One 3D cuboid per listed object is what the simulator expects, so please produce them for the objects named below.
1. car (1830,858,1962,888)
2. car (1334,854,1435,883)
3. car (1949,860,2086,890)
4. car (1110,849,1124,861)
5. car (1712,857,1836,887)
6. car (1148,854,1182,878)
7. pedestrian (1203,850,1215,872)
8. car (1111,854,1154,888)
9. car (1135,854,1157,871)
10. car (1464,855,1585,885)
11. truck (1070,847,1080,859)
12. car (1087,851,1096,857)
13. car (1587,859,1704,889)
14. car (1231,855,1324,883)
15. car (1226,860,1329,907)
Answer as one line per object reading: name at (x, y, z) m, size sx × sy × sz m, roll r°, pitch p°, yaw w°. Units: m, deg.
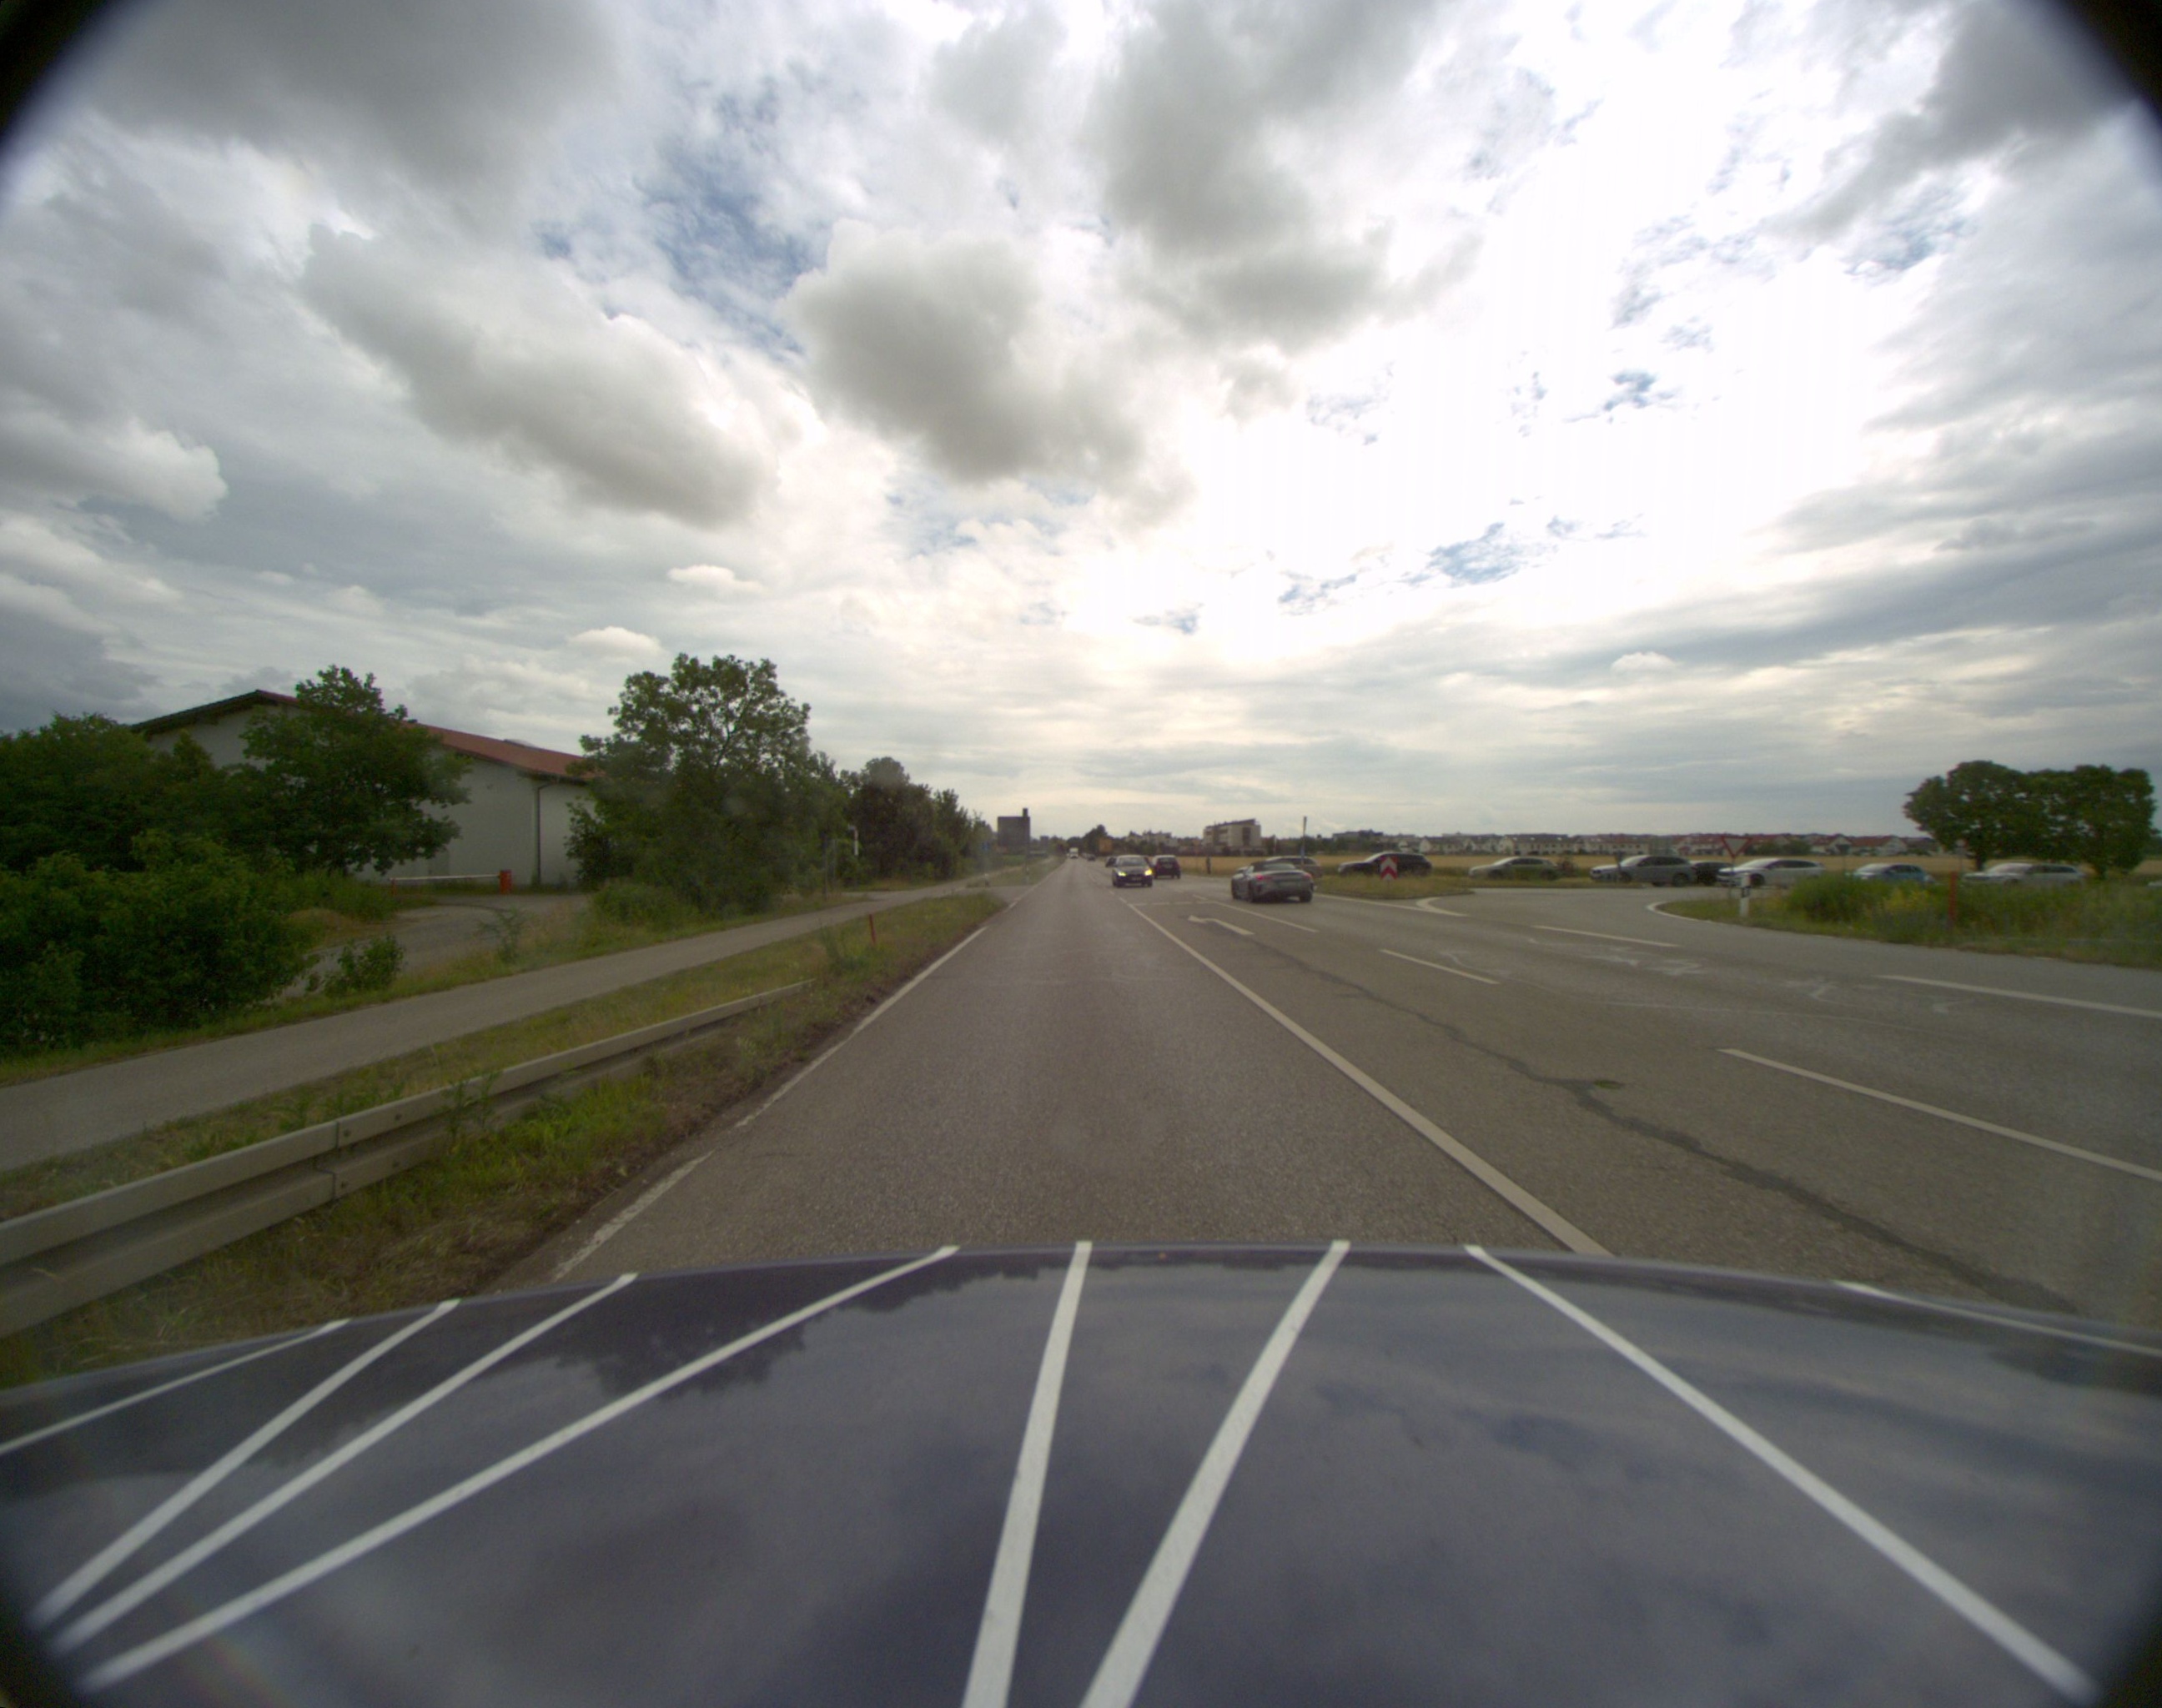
car at (42.023, 0.956, 39.266) m, size 4.500 × 1.473 × 1.912 m, roll 0°, pitch 0°, yaw 6°
car at (16.394, 0.754, 41.202) m, size 4.749 × 1.523 × 1.912 m, roll 0°, pitch 0°, yaw 6°
car at (47.960, 1.074, 38.974) m, size 4.501 × 1.473 × 1.911 m, roll 0°, pitch 0°, yaw 3°
car at (4.911, 0.159, 104.306) m, size 1.683 × 1.512 × 4.395 m, roll -2°, pitch 0°, yaw 0°
car at (35.943, 0.916, 39.530) m, size 4.500 × 1.473 × 1.912 m, roll 0°, pitch 0°, yaw 6°
car at (5.670, 0.807, 51.830) m, size 1.746 × 1.521 × 4.198 m, roll -1°, pitch 0°, yaw -1°
pedestrian at (9.628, 0.540, 57.115) m, size 0.595 × 1.596 × 0.866 m, roll 2°, pitch 1°, yaw -3°
car at (2.647, 0.836, 39.716) m, size 1.707 × 1.602 × 4.481 m, roll -2°, pitch 0°, yaw -2°
car at (6.024, 0.775, 70.319) m, size 1.666 × 1.475 × 3.168 m, roll -1°, pitch 0°, yaw -1°
car at (23.651, 0.834, 40.700) m, size 5.295 × 1.512 × 1.912 m, roll 0°, pitch 0°, yaw 6°
truck at (-1.763, -0.409, 234.589) m, size 2.814 × 3.588 × 11.218 m, roll 0°, pitch 0°, yaw 0°
car at (2.413, -0.050, 171.409) m, size 1.740 × 1.450 × 4.130 m, roll 0°, pitch 0°, yaw -2°
car at (29.834, 1.037, 40.258) m, size 4.633 × 1.508 × 1.912 m, roll 0°, pitch 0°, yaw 6°
car at (10.483, 0.788, 40.730) m, size 4.465 × 1.416 × 1.909 m, roll 0°, pitch 0°, yaw -8°
car at (6.244, 0.899, 24.669) m, size 2.170 × 1.277 × 4.236 m, roll -2°, pitch 0°, yaw -1°
